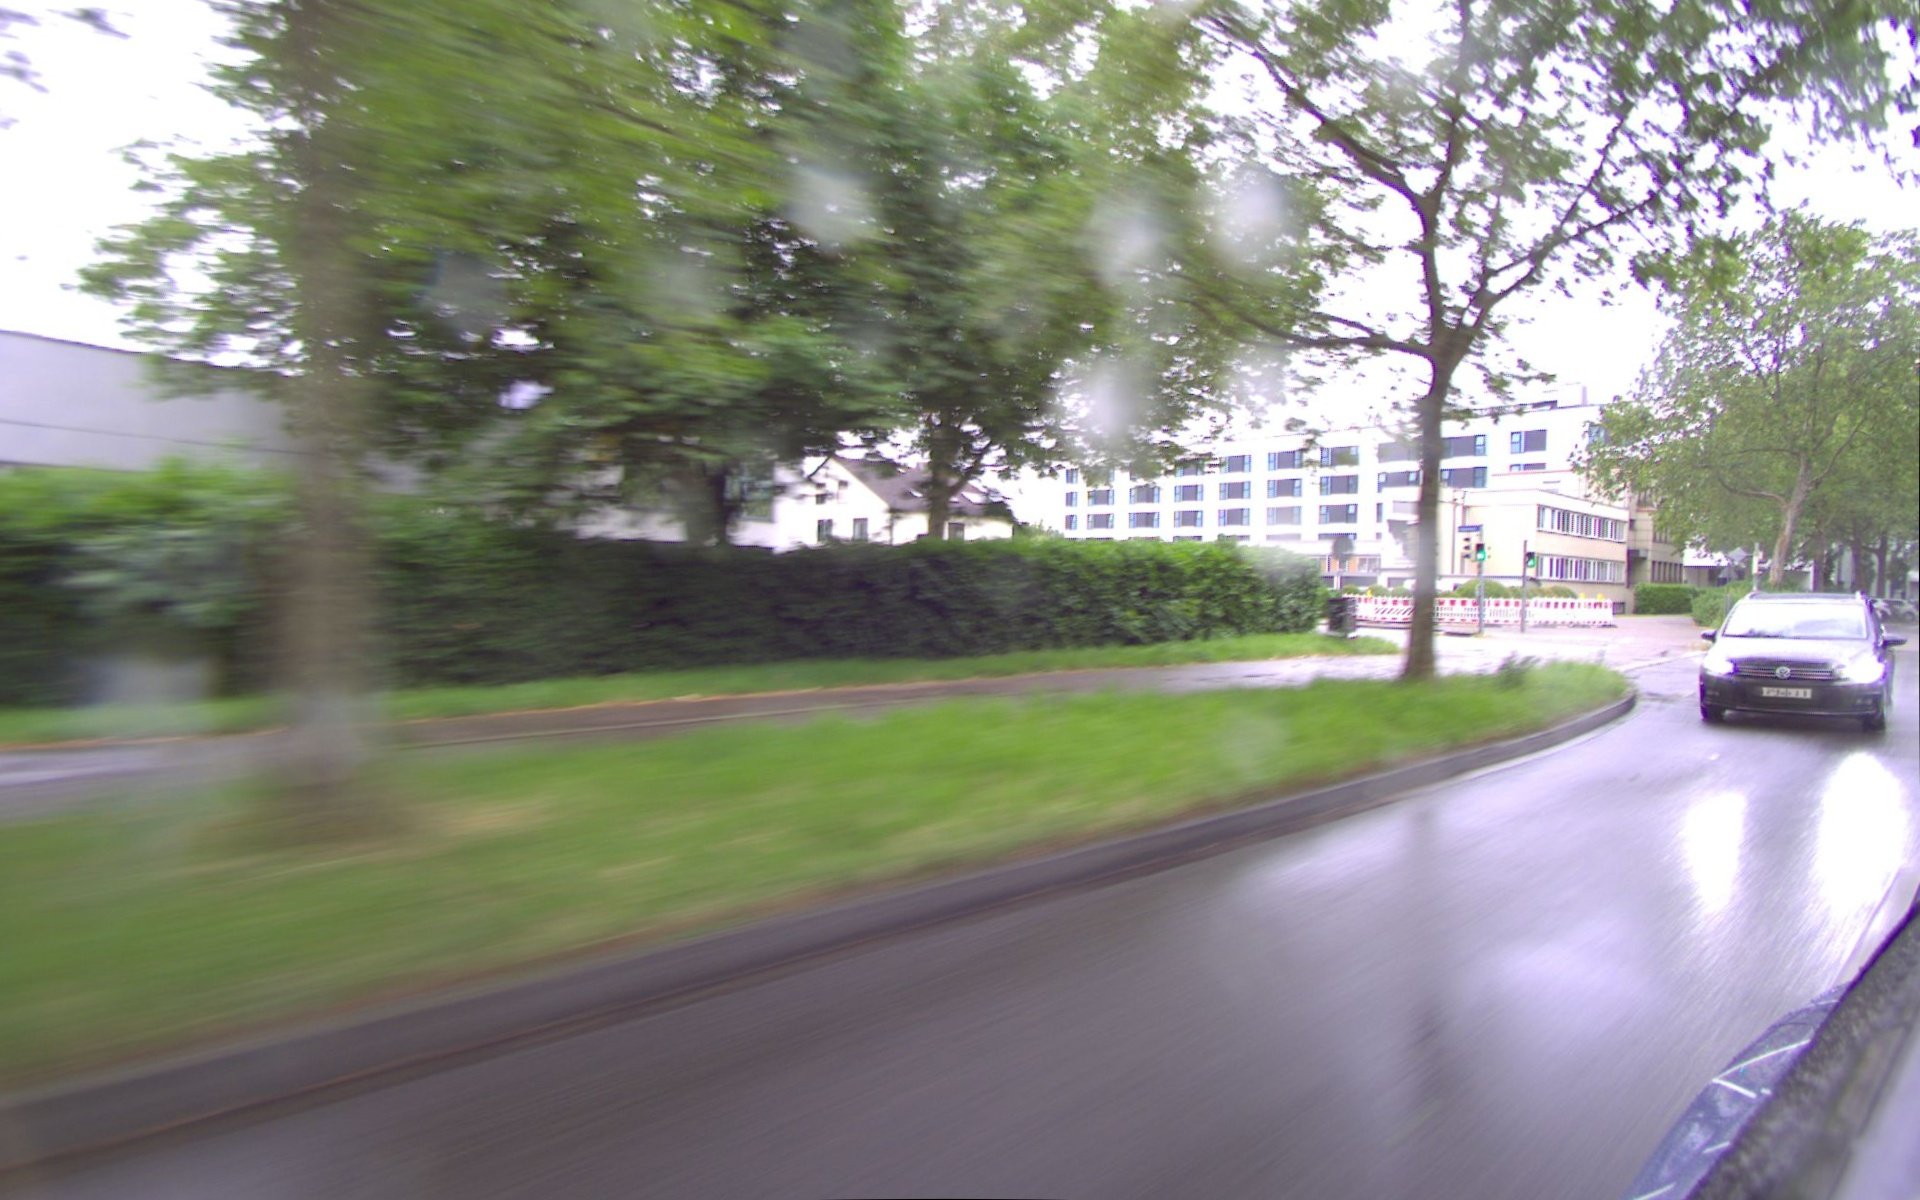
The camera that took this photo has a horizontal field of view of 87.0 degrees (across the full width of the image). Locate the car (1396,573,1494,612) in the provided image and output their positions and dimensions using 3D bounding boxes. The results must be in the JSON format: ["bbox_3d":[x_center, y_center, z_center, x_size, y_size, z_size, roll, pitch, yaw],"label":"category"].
[{"bbox_3d":[23.978,-0.399,50.106,1.755,1.792,3.991,0,1,-43],"label":"car"}]

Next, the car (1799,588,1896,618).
[{"bbox_3d":[50.312,0.152,57.438,1.755,1.575,3.991,0,1,-43],"label":"car"}]

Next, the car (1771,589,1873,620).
[{"bbox_3d":[46.033,0.210,54.107,1.755,1.575,3.991,0,1,-43],"label":"car"}]

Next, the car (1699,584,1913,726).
[{"bbox_3d":[11.157,0.597,13.252,3.935,1.575,1.780,0,0,-45],"label":"car"}]

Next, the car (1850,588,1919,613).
[{"bbox_3d":[61.408,0.001,66.674,1.755,1.575,3.991,0,1,-43],"label":"car"}]

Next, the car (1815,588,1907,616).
[{"bbox_3d":[54.353,0.094,61.095,1.755,1.575,3.991,0,1,-43],"label":"car"}]
